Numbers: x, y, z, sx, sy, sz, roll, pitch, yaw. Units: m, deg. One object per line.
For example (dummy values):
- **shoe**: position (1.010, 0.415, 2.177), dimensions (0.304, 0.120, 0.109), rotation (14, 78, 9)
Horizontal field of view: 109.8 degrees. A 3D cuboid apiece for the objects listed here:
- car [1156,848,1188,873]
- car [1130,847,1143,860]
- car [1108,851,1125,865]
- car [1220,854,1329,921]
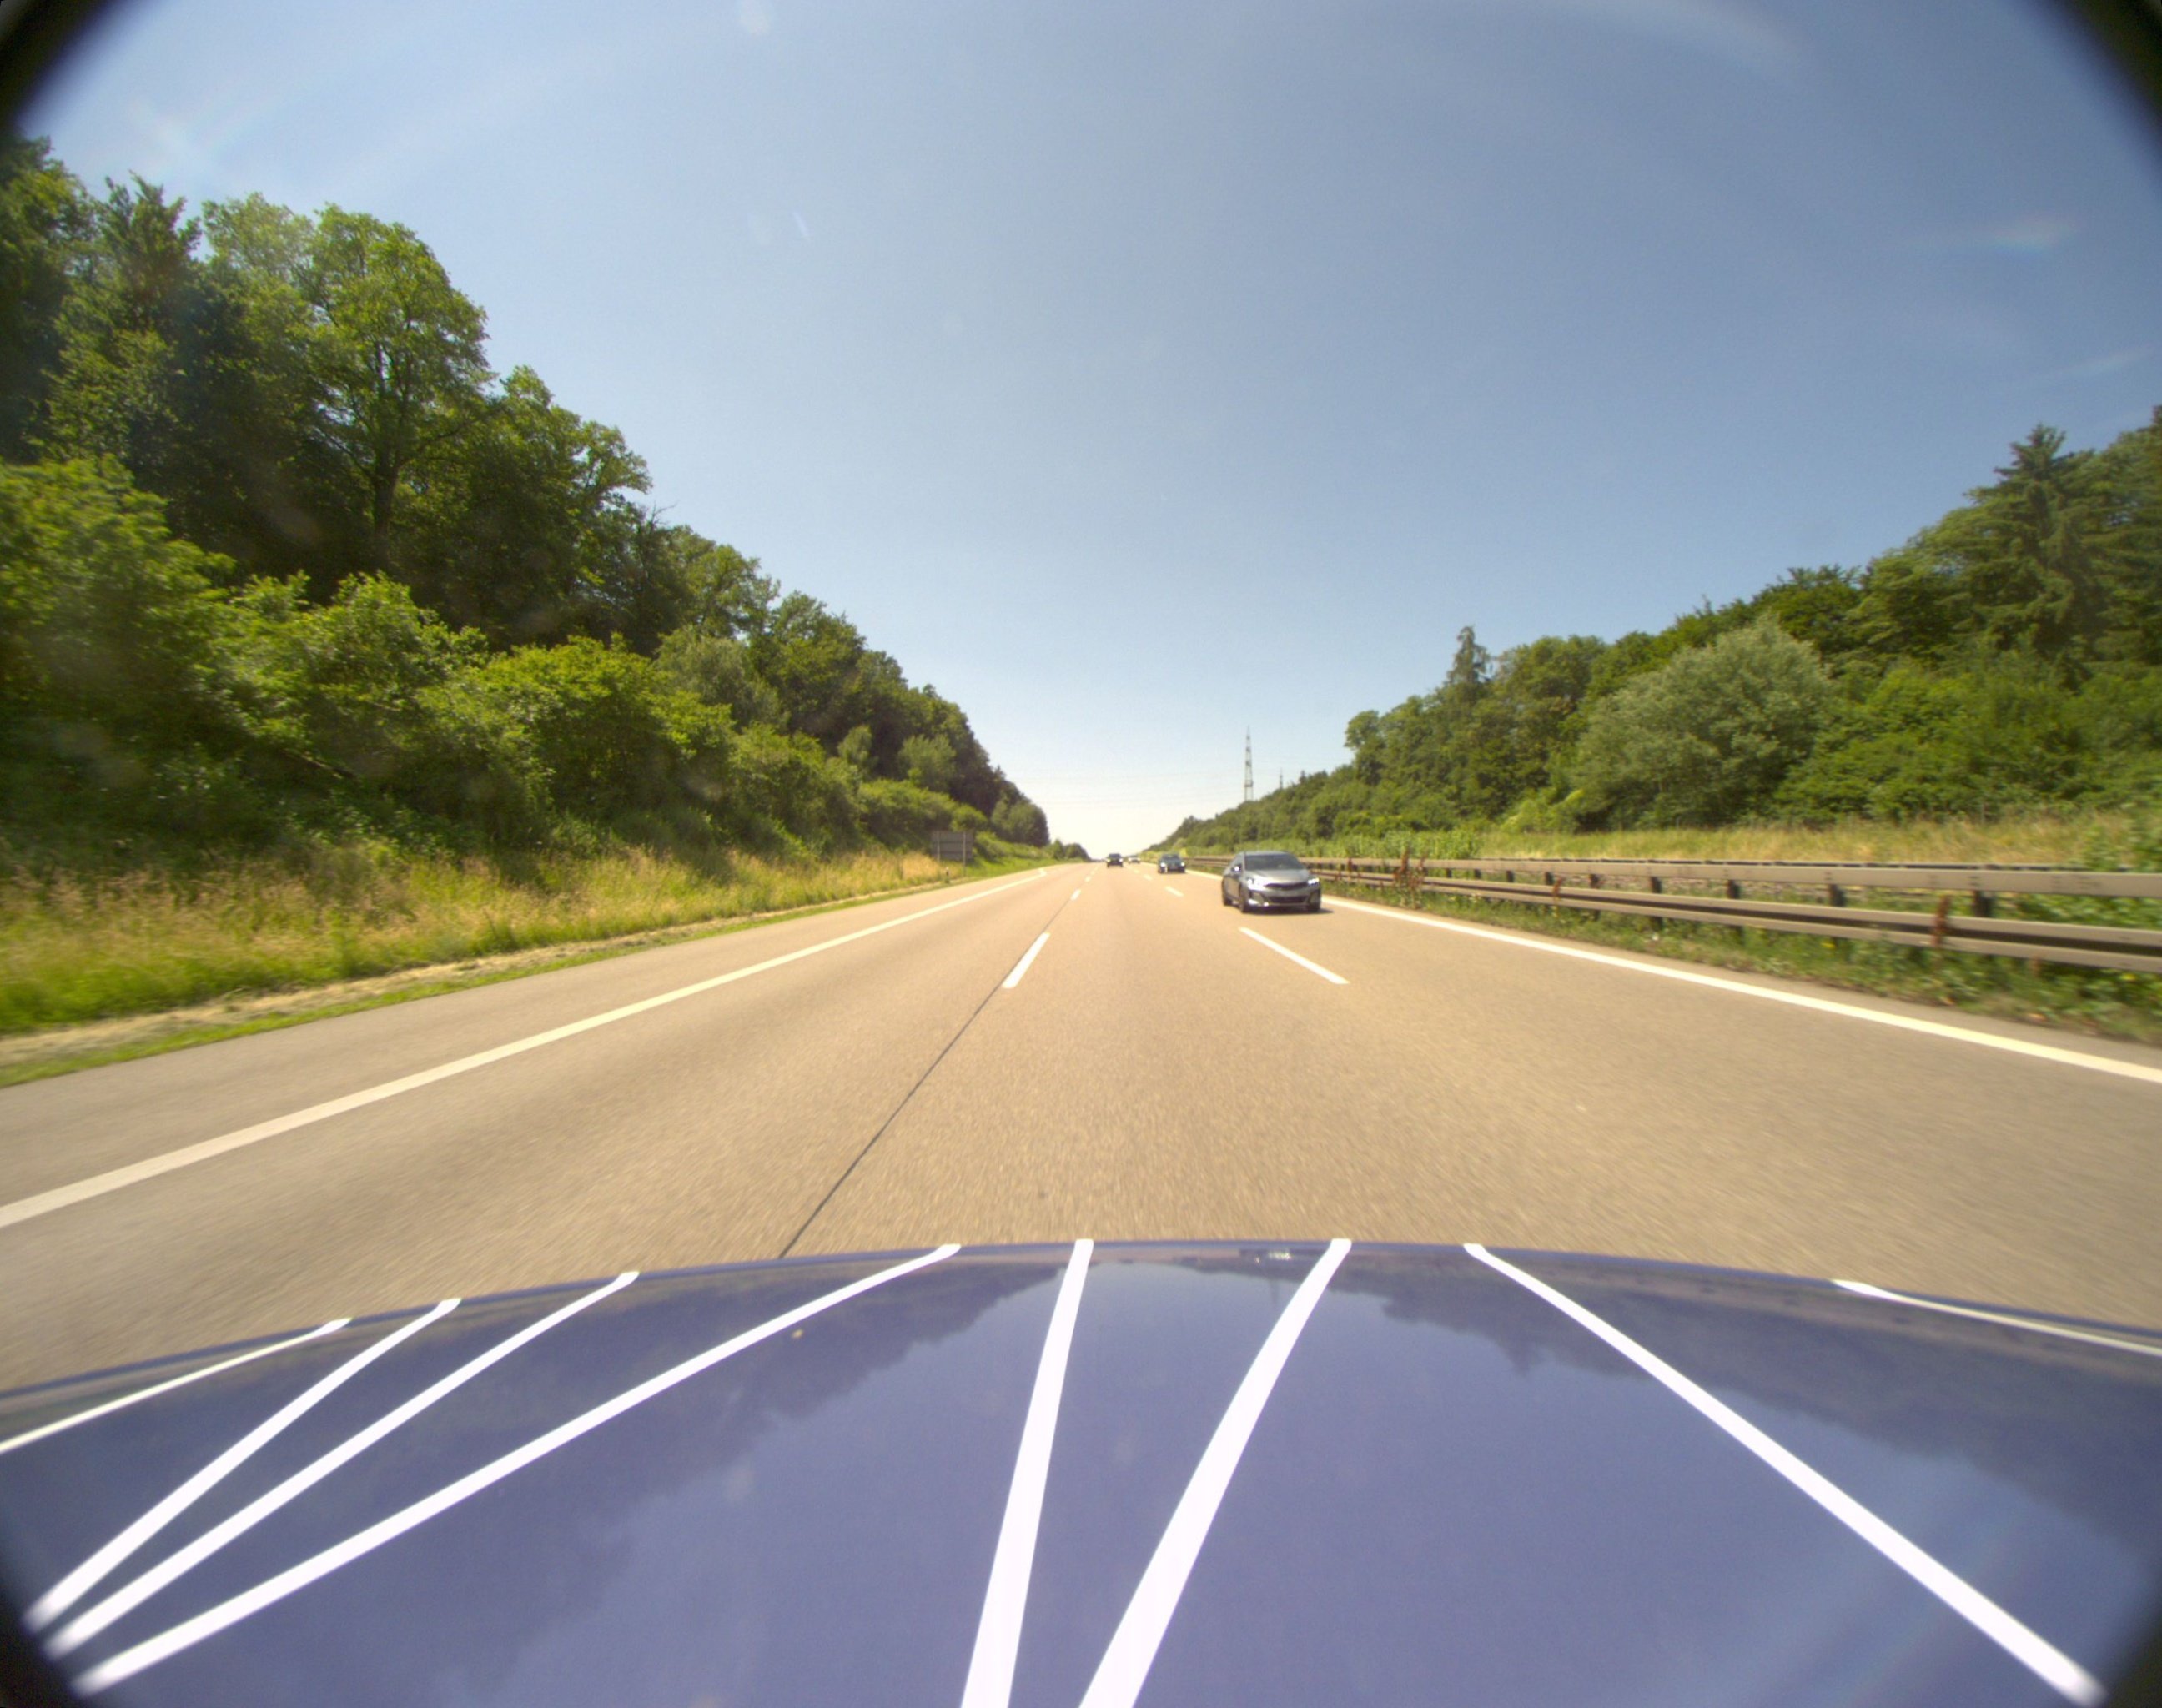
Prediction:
- **car**: position (6.467, 0.431, 54.299), dimensions (1.741, 1.610, 3.943), rotation (-2, 0, 0)
- **car**: position (9.066, -0.125, 124.143), dimensions (1.875, 2.002, 4.000), rotation (-2, 0, 1)
- **car**: position (4.098, 0.400, 88.683), dimensions (1.787, 1.550, 3.943), rotation (-2, 0, 0)
- **car**: position (4.625, 0.734, 18.731), dimensions (1.768, 1.400, 3.999), rotation (-2, 0, 2)
